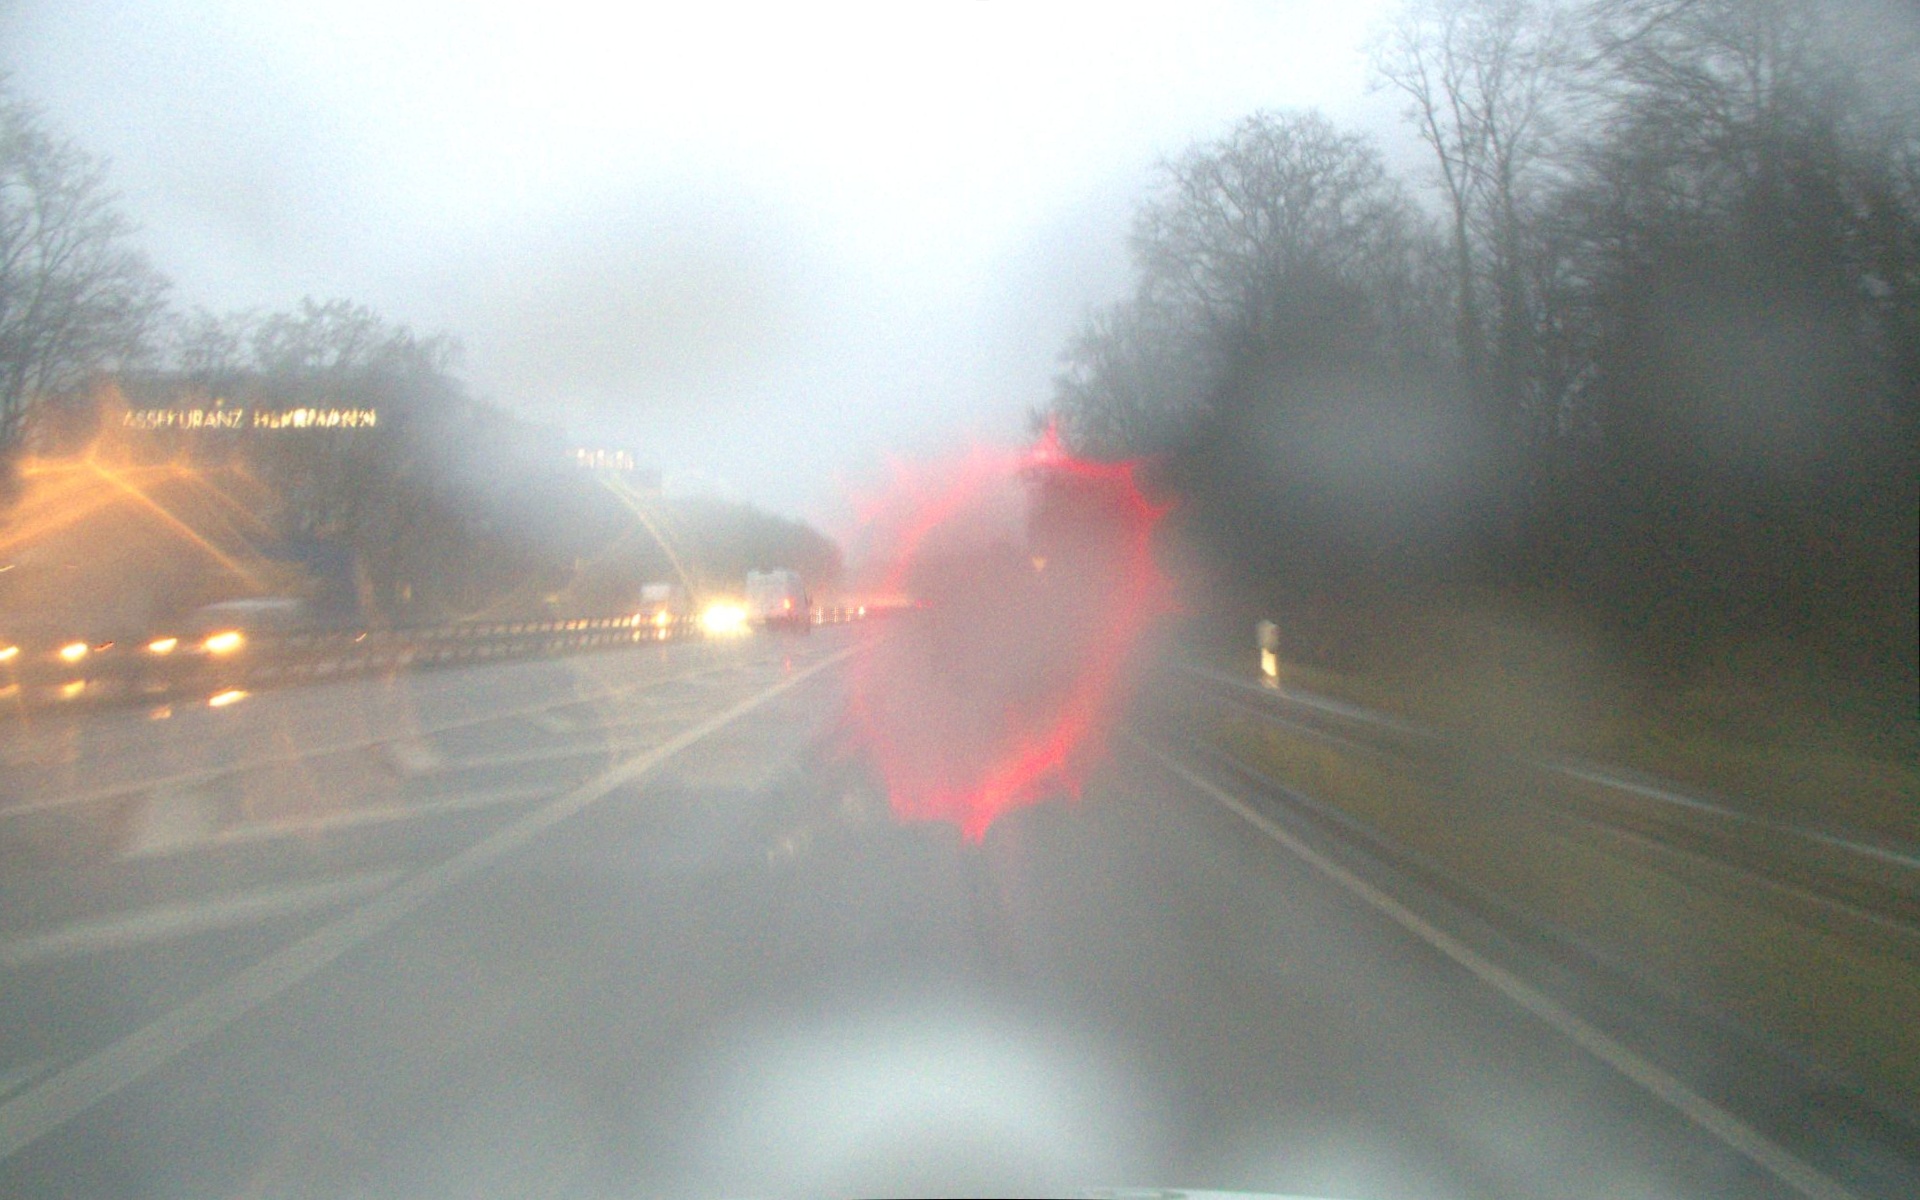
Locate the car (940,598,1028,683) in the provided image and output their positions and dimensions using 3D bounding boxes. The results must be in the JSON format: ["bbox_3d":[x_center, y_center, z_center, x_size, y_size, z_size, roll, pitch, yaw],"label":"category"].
[{"bbox_3d":[0.407,0.688,30.169,1.496,1.440,3.479,1,0,0],"label":"car"}]

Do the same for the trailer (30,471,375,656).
[{"bbox_3d":[-22.687,-0.988,51.031,3.416,4.932,13.487,1,0,5],"label":"trailer"}]

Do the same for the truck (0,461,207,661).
[{"bbox_3d":[-23.294,-0.985,43.917,3.416,4.932,6.034,1,0,5],"label":"truck"}]

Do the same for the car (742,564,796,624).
[{"bbox_3d":[-8.288,-0.258,72.071,1.960,2.496,3.998,1,0,-2],"label":"car"}]

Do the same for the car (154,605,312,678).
[{"bbox_3d":[-17.022,0.929,38.946,1.665,1.592,4.044,0,0,5],"label":"car"}]
